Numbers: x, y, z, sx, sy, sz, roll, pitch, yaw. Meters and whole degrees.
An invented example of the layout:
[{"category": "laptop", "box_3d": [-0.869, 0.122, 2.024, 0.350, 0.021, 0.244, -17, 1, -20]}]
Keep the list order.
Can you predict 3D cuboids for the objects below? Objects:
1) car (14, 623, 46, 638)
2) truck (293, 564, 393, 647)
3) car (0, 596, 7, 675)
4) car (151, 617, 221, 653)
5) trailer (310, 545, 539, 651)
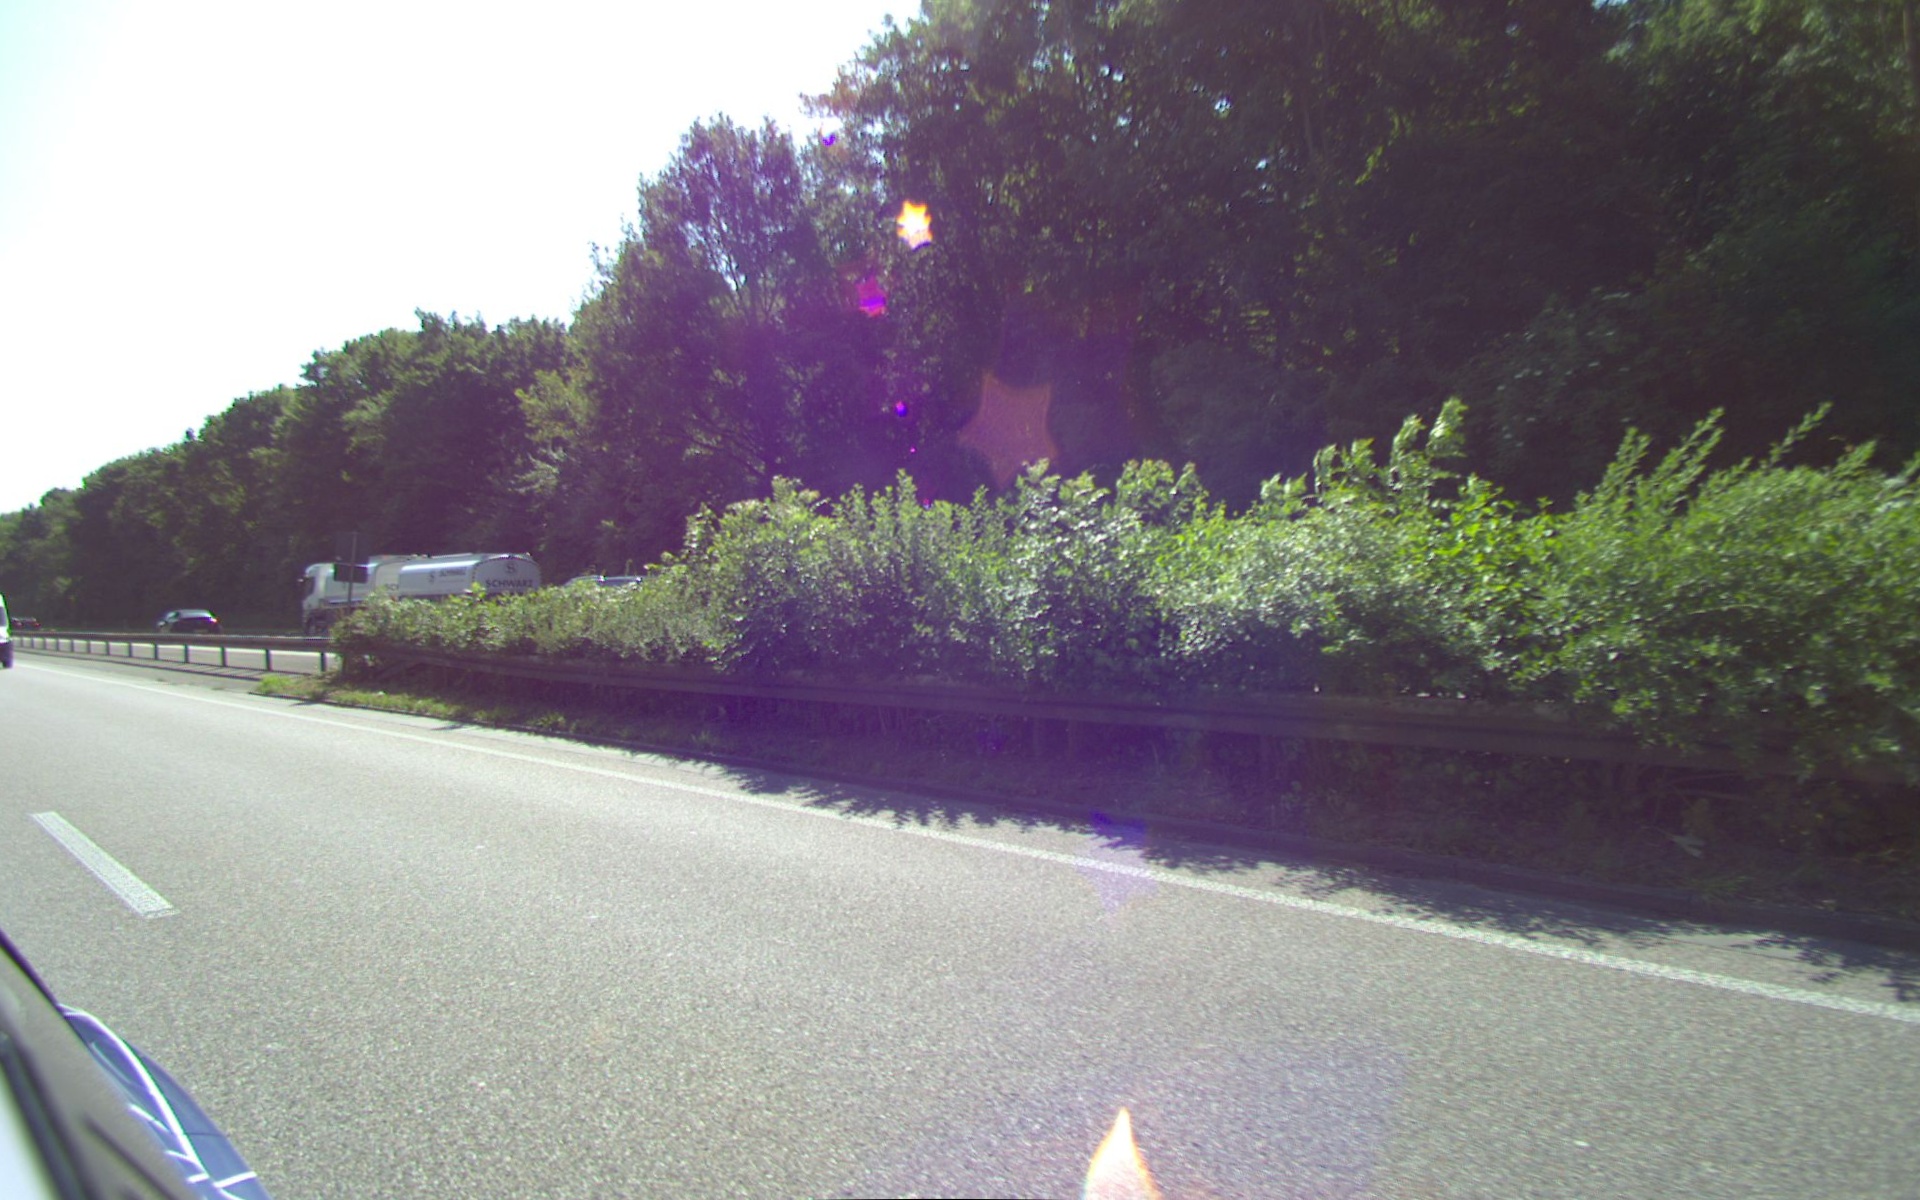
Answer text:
[{"category": "car", "box_3d": [-97.554, 3.194, 106.142, 4.547, 1.521, 1.824, -1, 0, 40]}, {"category": "truck", "box_3d": [-25.602, 0.235, 41.958, 3.998, 3.283, 2.400, -1, 0, 41]}, {"category": "car", "box_3d": [-32.243, 1.153, 32.429, 4.635, 2.462, 2.020, -1, 0, 41]}, {"category": "car", "box_3d": [-34.896, 1.556, 45.588, 4.242, 1.491, 1.705, -1, 0, 41]}, {"category": "trailer", "box_3d": [-20.016, 0.051, 36.995, 14.425, 3.260, 2.467, -1, 0, 42]}]
